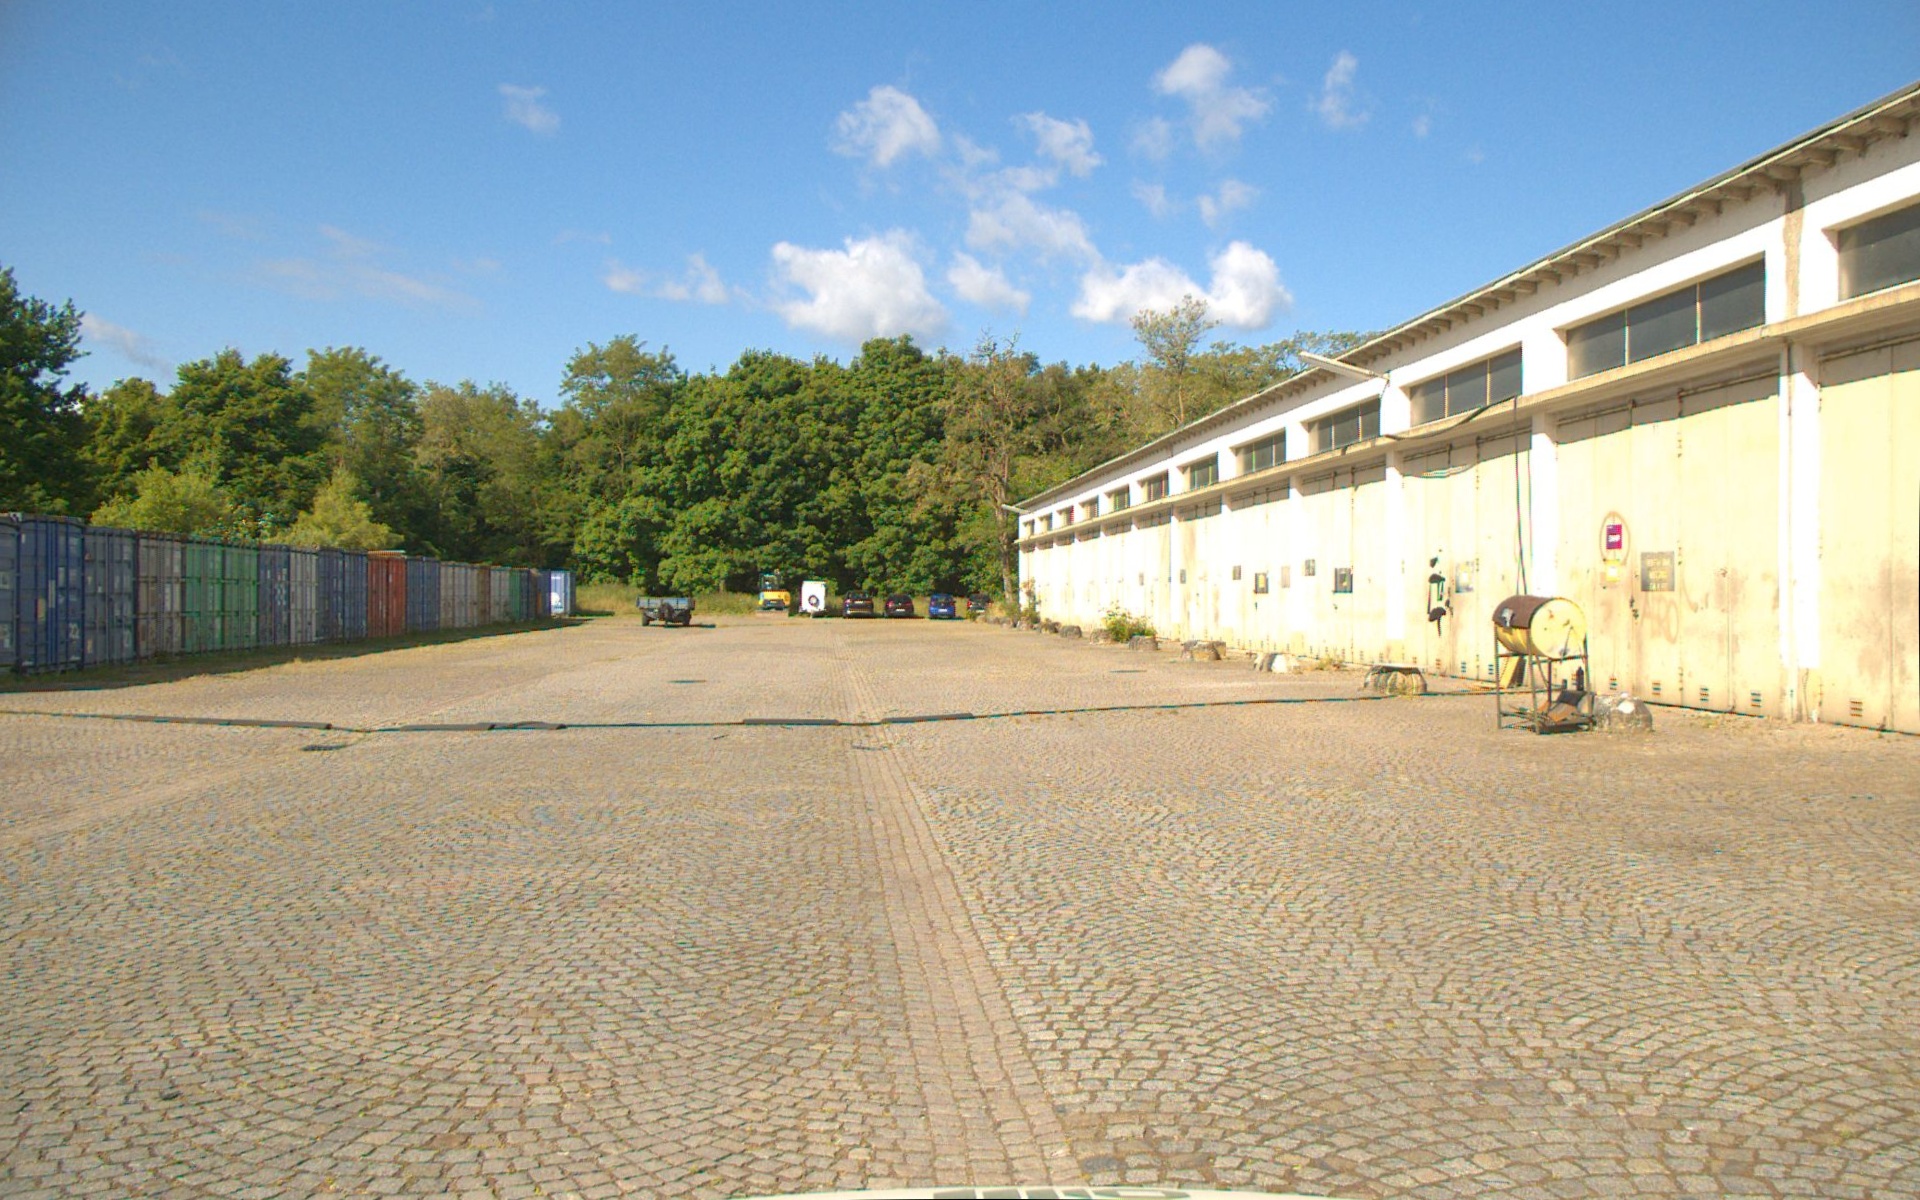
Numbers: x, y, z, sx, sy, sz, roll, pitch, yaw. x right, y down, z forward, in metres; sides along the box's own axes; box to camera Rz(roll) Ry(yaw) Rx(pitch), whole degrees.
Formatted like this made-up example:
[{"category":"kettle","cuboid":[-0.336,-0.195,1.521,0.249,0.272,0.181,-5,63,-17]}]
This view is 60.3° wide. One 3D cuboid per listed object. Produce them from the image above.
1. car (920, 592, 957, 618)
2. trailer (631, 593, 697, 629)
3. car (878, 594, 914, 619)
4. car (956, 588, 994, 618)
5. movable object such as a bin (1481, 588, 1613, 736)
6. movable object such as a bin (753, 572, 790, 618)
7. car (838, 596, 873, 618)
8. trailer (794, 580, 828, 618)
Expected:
[{"category":"car","cuboid":[-1.321,0.306,99.755,1.955,1.491,3.996,-1,0,-5]},{"category":"trailer","cuboid":[-14.409,0.503,80.790,2.737,1.675,5.613,-1,0,-6]},{"category":"car","cuboid":[-3.852,0.366,99.530,1.955,1.449,3.996,-1,0,-5]},{"category":"car","cuboid":[0.879,0.161,101.210,1.955,1.803,3.996,-1,0,-5]},{"category":"movable object such as a bin","cuboid":[5.874,0.602,16.606,0.858,1.426,1.100,0,0,-6]},{"category":"movable object such as a bin","cuboid":[-11.476,-0.289,100.441,2.190,2.703,3.994,-1,0,-7]},{"category":"car","cuboid":[-6.288,0.414,98.927,1.955,1.280,3.996,-1,0,-5]},{"category":"trailer","cuboid":[-9.004,-0.052,99.912,1.955,2.200,4.426,-1,0,-5]}]
